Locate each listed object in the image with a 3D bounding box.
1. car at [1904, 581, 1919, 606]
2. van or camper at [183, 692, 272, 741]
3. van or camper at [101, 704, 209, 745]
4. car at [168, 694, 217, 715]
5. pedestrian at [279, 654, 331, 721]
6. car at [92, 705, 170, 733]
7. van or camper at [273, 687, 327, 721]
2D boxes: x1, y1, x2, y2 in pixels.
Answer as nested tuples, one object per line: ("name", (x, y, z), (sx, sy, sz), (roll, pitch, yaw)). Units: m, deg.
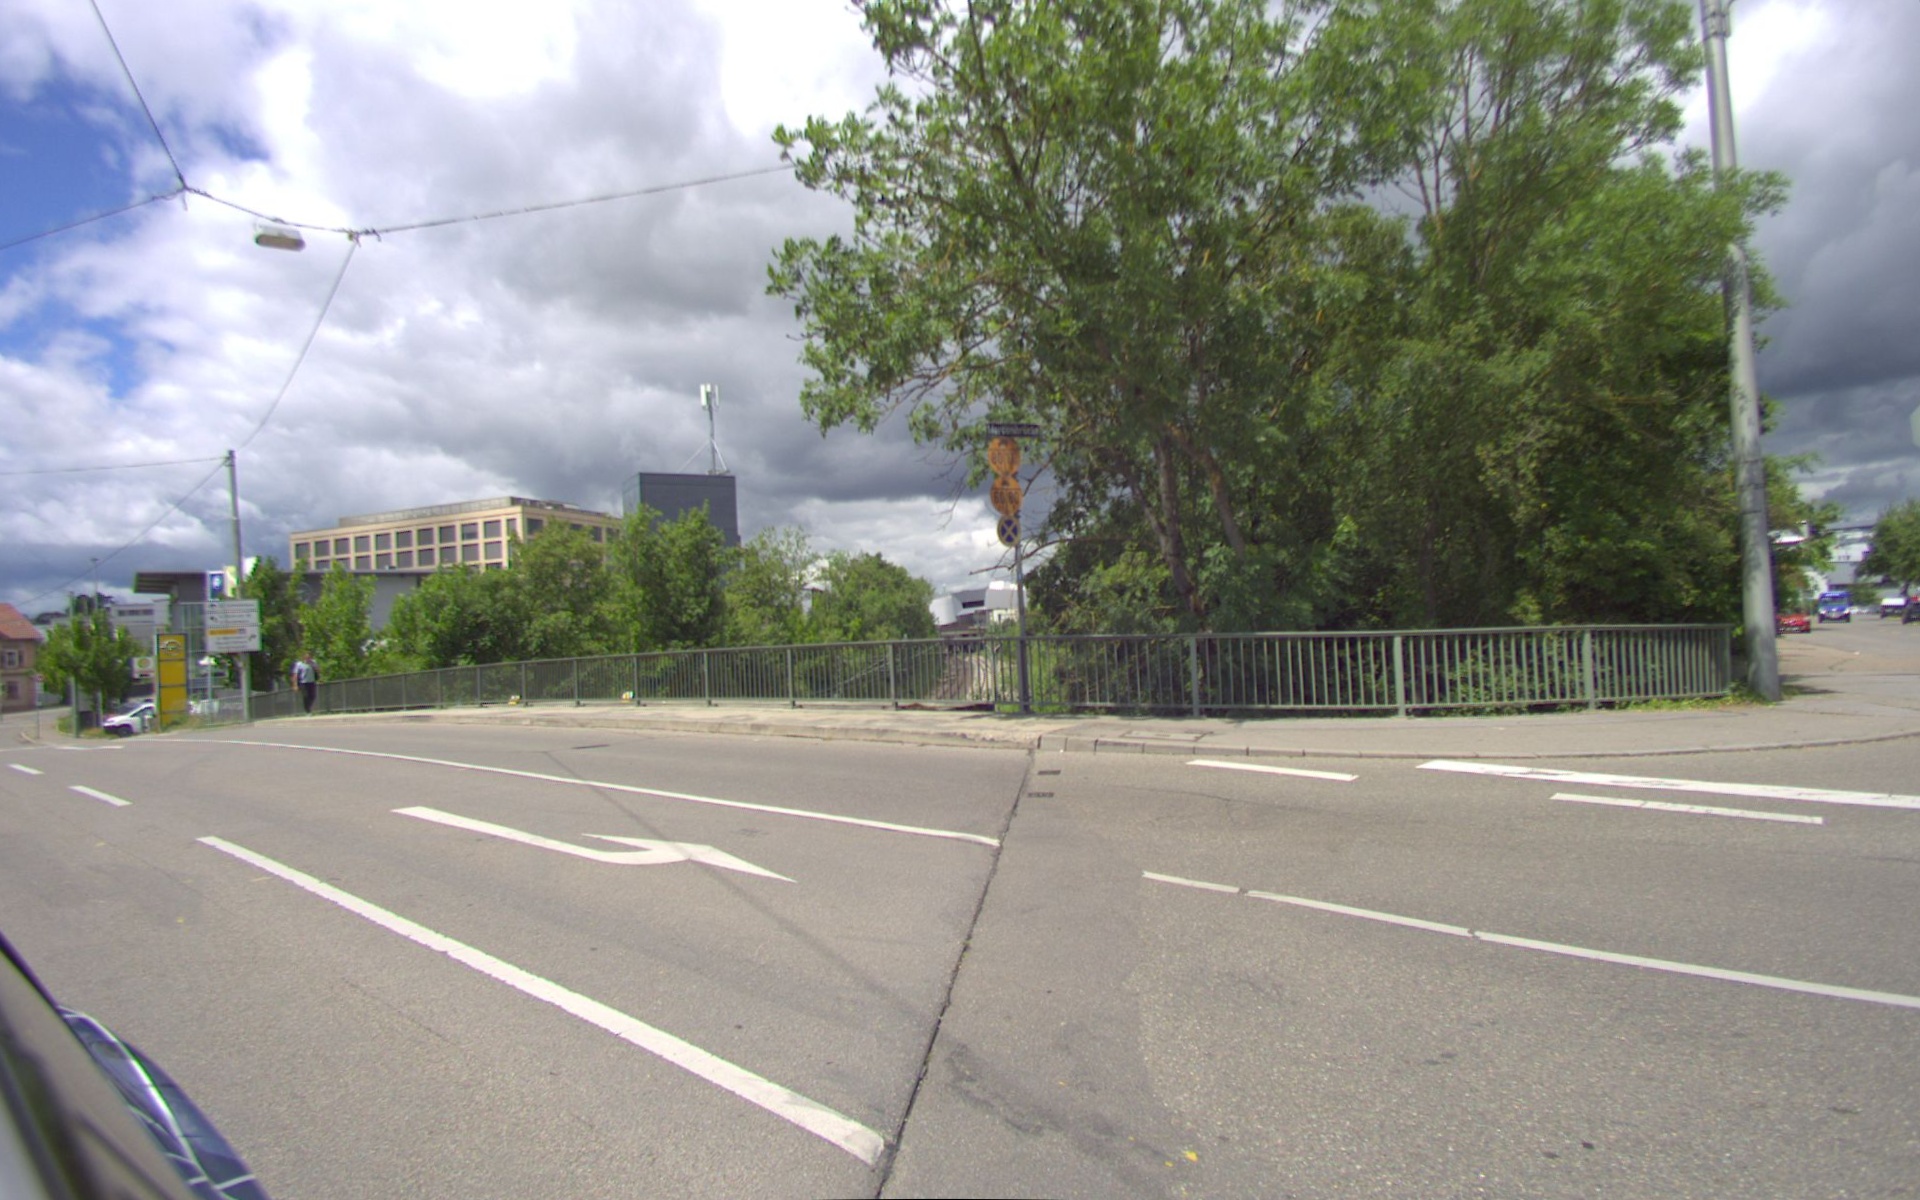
("car", (65.659, -0.492, 68.526), (1.997, 1.600, 4.346), (-4, -1, 38))
("van or camper", (-37.602, 5.941, 52.109), (1.957, 1.978, 4.972), (-5, -2, -15))
("van or camper", (-45.336, 6.974, 57.056), (4.613, 1.763, 2.002), (-2, -3, -43))
("car", (-62.617, 8.520, 82.597), (1.518, 1.384, 2.977), (-7, -4, 43))
("pedestrian", (-19.605, 2.623, 30.268), (1.037, 1.851, 0.985), (-7, -3, 43))
("car", (-55.545, 7.949, 67.846), (1.812, 1.509, 3.808), (-6, -4, 42))
("van or camper", (-44.934, 7.101, 68.860), (4.685, 2.029, 1.972), (-7, -4, 43))
